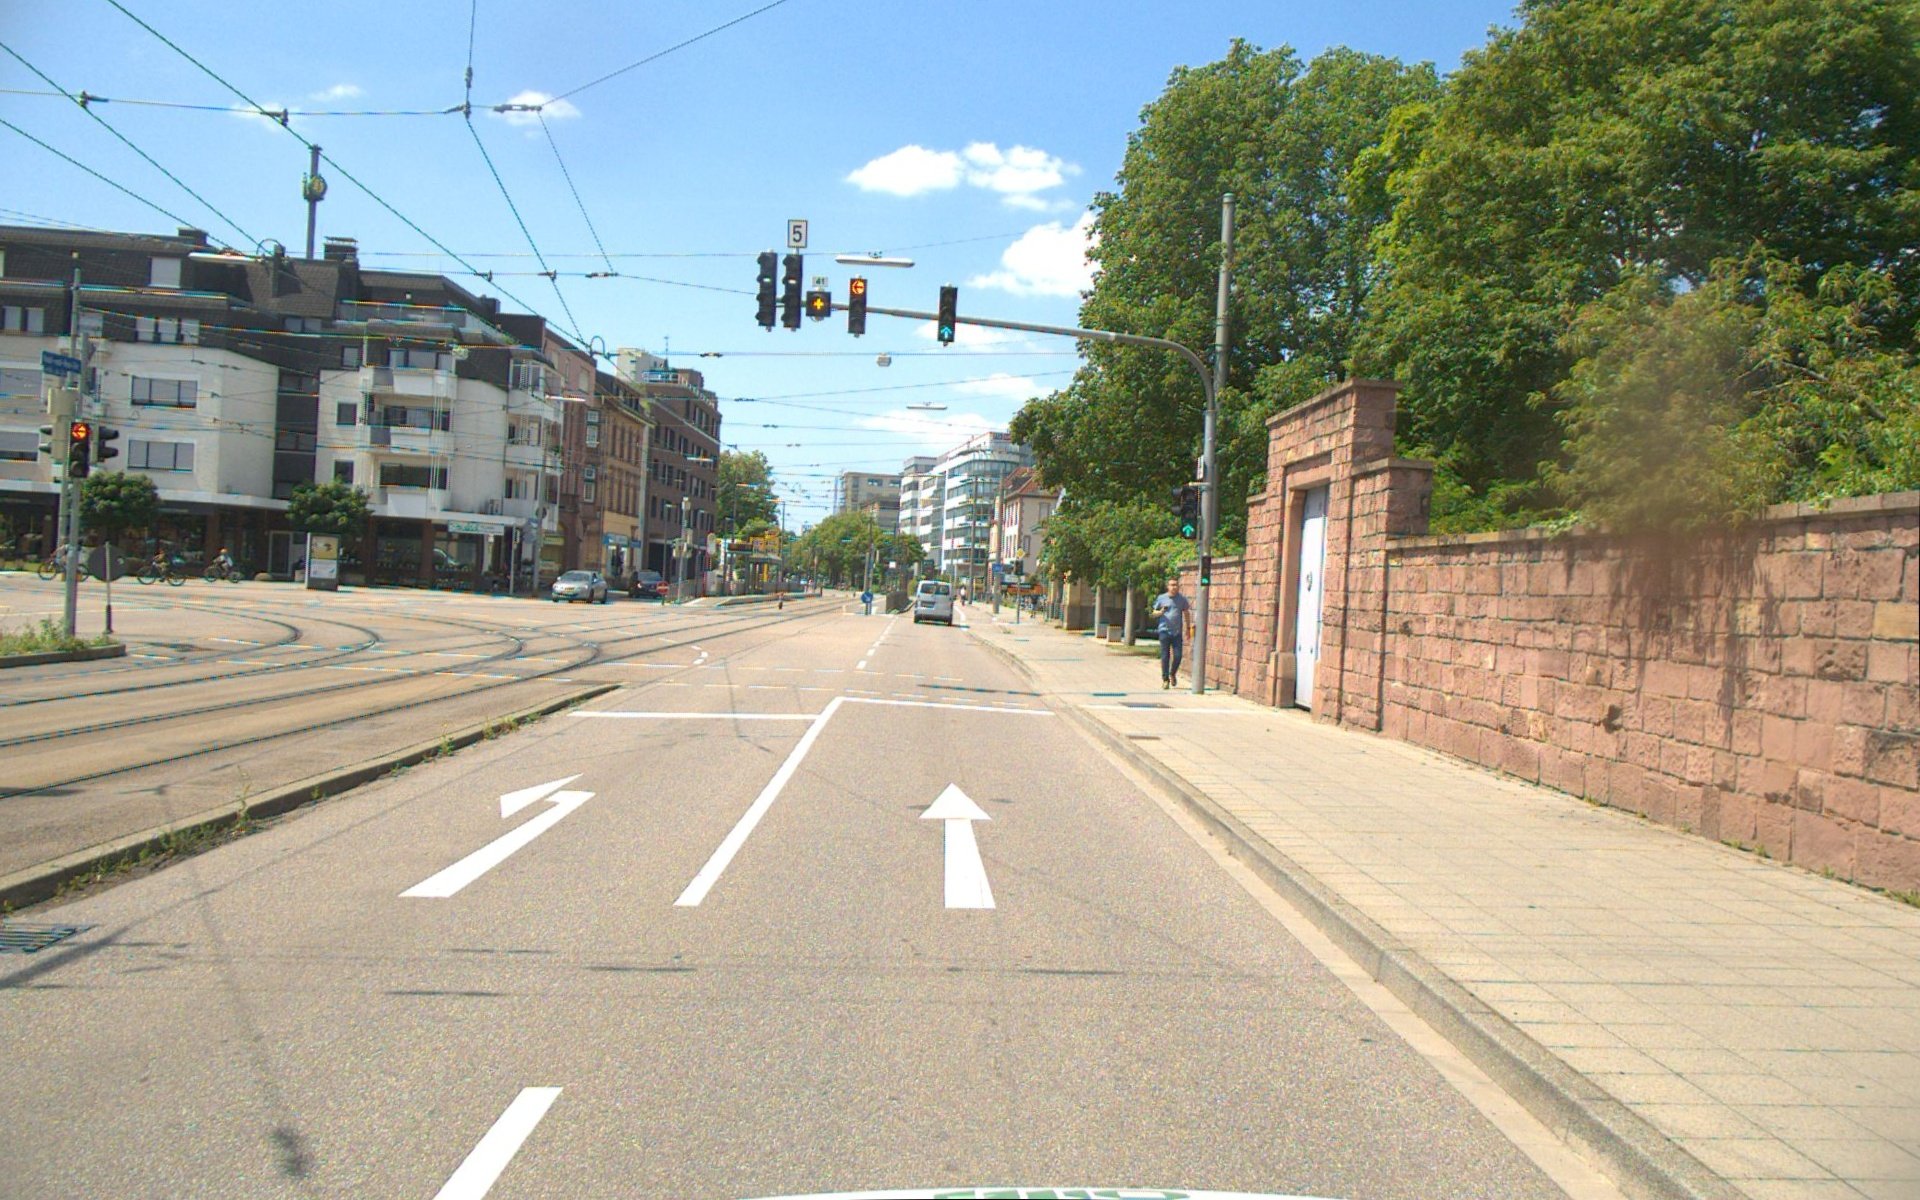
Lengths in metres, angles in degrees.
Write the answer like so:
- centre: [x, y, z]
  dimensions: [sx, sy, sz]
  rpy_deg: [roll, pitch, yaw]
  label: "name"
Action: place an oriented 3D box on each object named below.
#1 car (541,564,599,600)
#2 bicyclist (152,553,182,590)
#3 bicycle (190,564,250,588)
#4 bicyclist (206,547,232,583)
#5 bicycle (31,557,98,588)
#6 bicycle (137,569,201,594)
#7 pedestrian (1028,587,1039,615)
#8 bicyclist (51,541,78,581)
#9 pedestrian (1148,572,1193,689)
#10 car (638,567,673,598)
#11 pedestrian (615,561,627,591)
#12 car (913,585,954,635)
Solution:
- centre: [-17.802, -0.806, 75.642]
  dimensions: [1.955, 1.497, 4.396]
  rpy_deg: [3, 0, -6]
  label: "car"
- centre: [-31.003, -1.108, 64.661]
  dimensions: [0.954, 1.447, 0.623]
  rpy_deg: [2, -1, -38]
  label: "bicyclist"
- centre: [-31.221, -1.014, 69.783]
  dimensions: [2.234, 0.951, 0.662]
  rpy_deg: [2, -1, -39]
  label: "bicycle"
- centre: [-31.245, -1.456, 69.738]
  dimensions: [0.840, 1.494, 0.648]
  rpy_deg: [2, -1, -37]
  label: "bicyclist"
- centre: [-34.335, -1.032, 63.444]
  dimensions: [2.223, 1.120, 0.512]
  rpy_deg: [1, -1, -27]
  label: "bicycle"
- centre: [-30.935, -0.707, 64.714]
  dimensions: [2.234, 0.896, 0.413]
  rpy_deg: [2, -1, -38]
  label: "bicycle"
- centre: [4.269, 0.049, 95.870]
  dimensions: [0.565, 1.583, 0.786]
  rpy_deg: [1, -1, 2]
  label: "pedestrian"
- centre: [-34.352, -1.493, 63.421]
  dimensions: [0.840, 1.513, 0.731]
  rpy_deg: [1, -1, -26]
  label: "bicyclist"
- centre: [3.446, 0.496, 27.114]
  dimensions: [0.700, 1.884, 0.768]
  rpy_deg: [0, 0, 5]
  label: "pedestrian"
- centre: [-18.255, -1.081, 99.362]
  dimensions: [1.690, 1.712, 4.274]
  rpy_deg: [3, 1, -6]
  label: "car"
- centre: [-24.052, -1.721, 117.446]
  dimensions: [0.605, 2.048, 0.810]
  rpy_deg: [4, -1, -3]
  label: "pedestrian"
- centre: [-1.177, 0.399, 72.621]
  dimensions: [1.717, 2.048, 3.999]
  rpy_deg: [2, 1, -1]
  label: "car"
